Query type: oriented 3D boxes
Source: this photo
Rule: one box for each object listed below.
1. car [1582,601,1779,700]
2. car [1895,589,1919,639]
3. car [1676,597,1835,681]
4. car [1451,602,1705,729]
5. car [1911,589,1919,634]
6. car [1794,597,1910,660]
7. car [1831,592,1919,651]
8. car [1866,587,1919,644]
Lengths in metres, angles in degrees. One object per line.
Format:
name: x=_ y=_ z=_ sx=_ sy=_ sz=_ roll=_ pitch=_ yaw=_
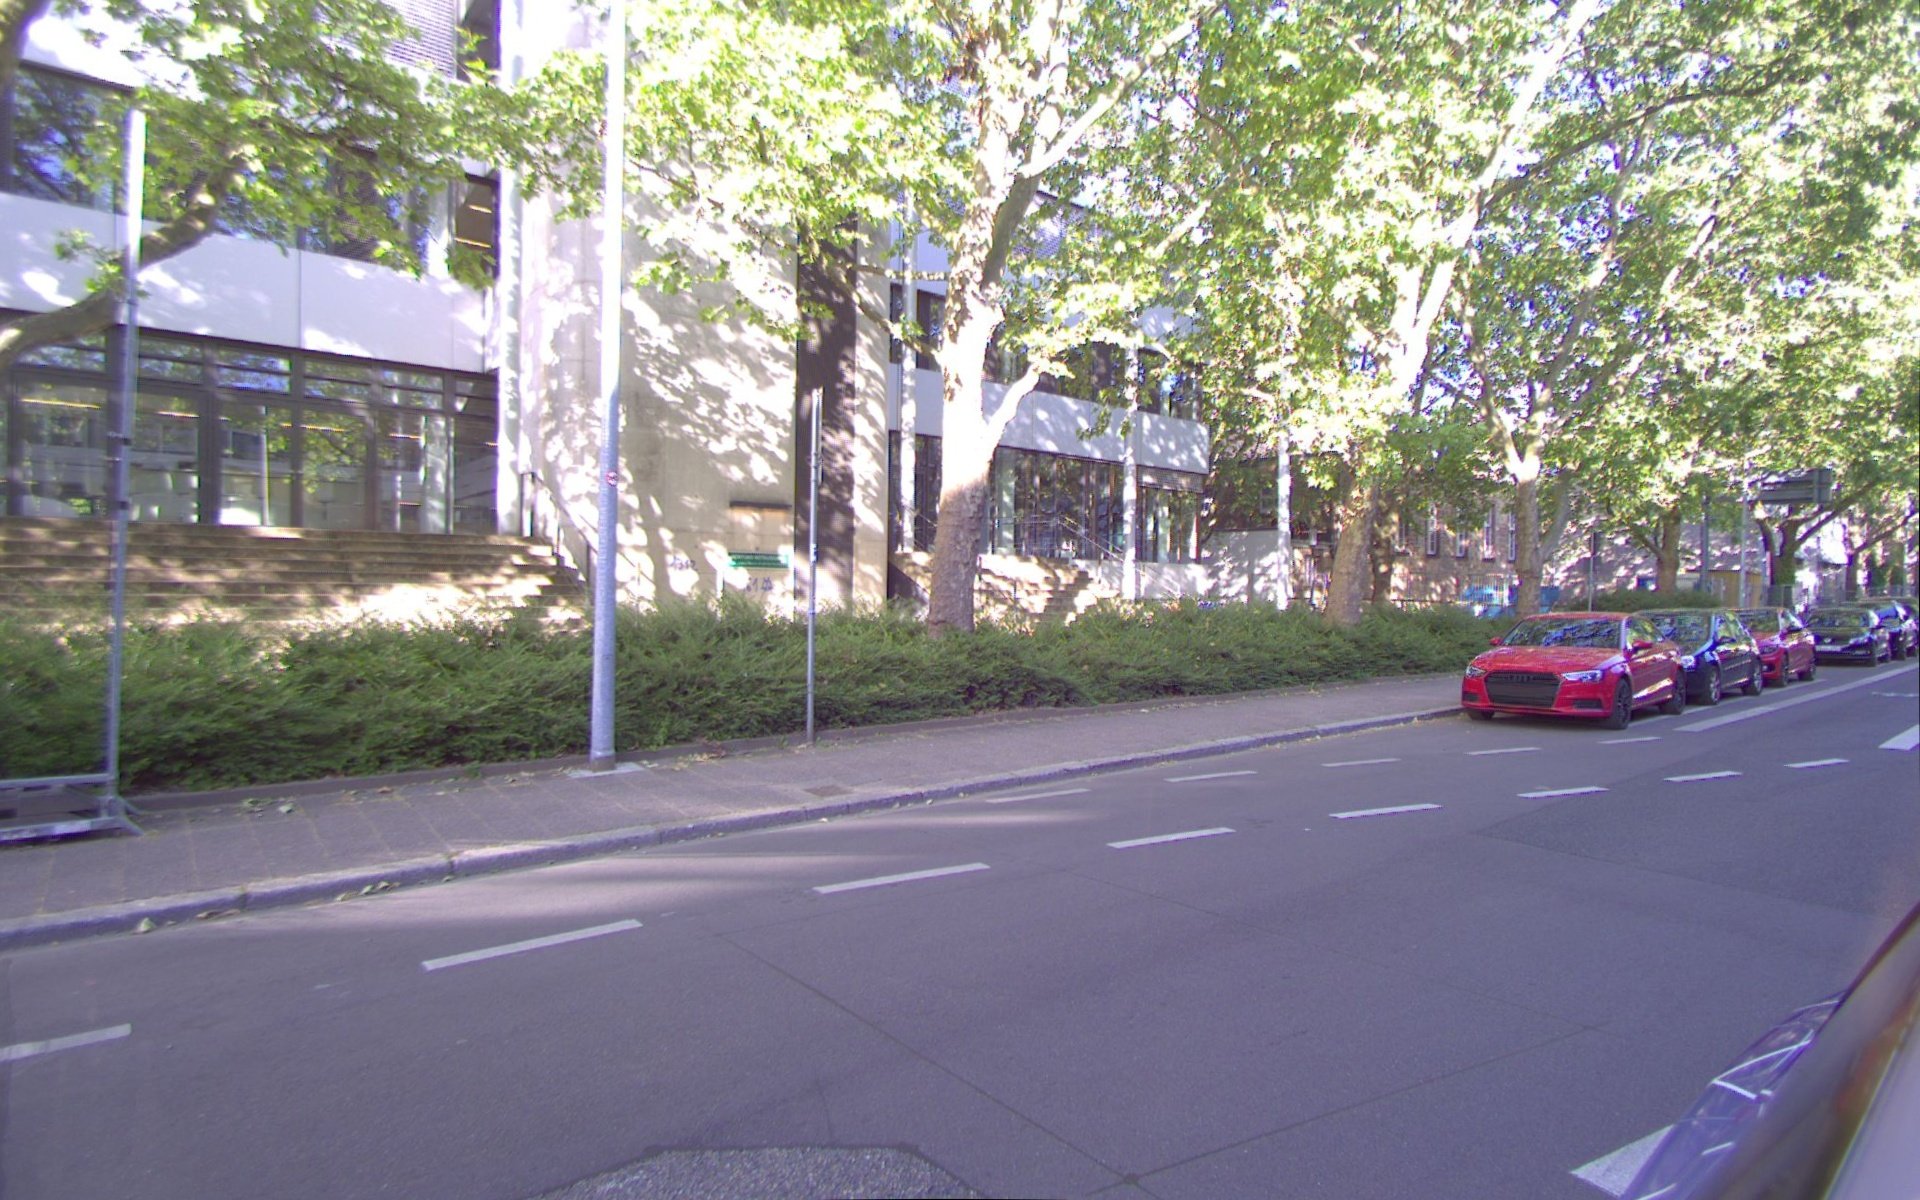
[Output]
car: x=11.952 y=0.738 z=16.694 sx=4.092 sy=1.431 sz=1.815 roll=0 pitch=-1 yaw=-42
car: x=35.911 y=0.480 z=37.255 sx=4.475 sy=1.777 sz=1.788 roll=0 pitch=-1 yaw=-42
car: x=15.858 y=0.700 z=20.114 sx=4.092 sy=1.502 sz=1.815 roll=0 pitch=-1 yaw=-42
car: x=8.358 y=0.754 z=13.555 sx=4.092 sy=1.431 sz=1.815 roll=0 pitch=-1 yaw=-42
car: x=39.629 y=0.435 z=40.405 sx=4.475 sy=1.777 sz=2.040 roll=0 pitch=-1 yaw=-42
car: x=23.051 y=0.678 z=26.107 sx=4.092 sy=1.478 sz=1.788 roll=0 pitch=-1 yaw=-42
car: x=26.596 y=0.587 z=29.138 sx=4.092 sy=1.573 sz=1.788 roll=0 pitch=-1 yaw=-42
car: x=31.058 y=0.486 z=33.020 sx=4.271 sy=1.777 sz=1.788 roll=0 pitch=-1 yaw=-42
